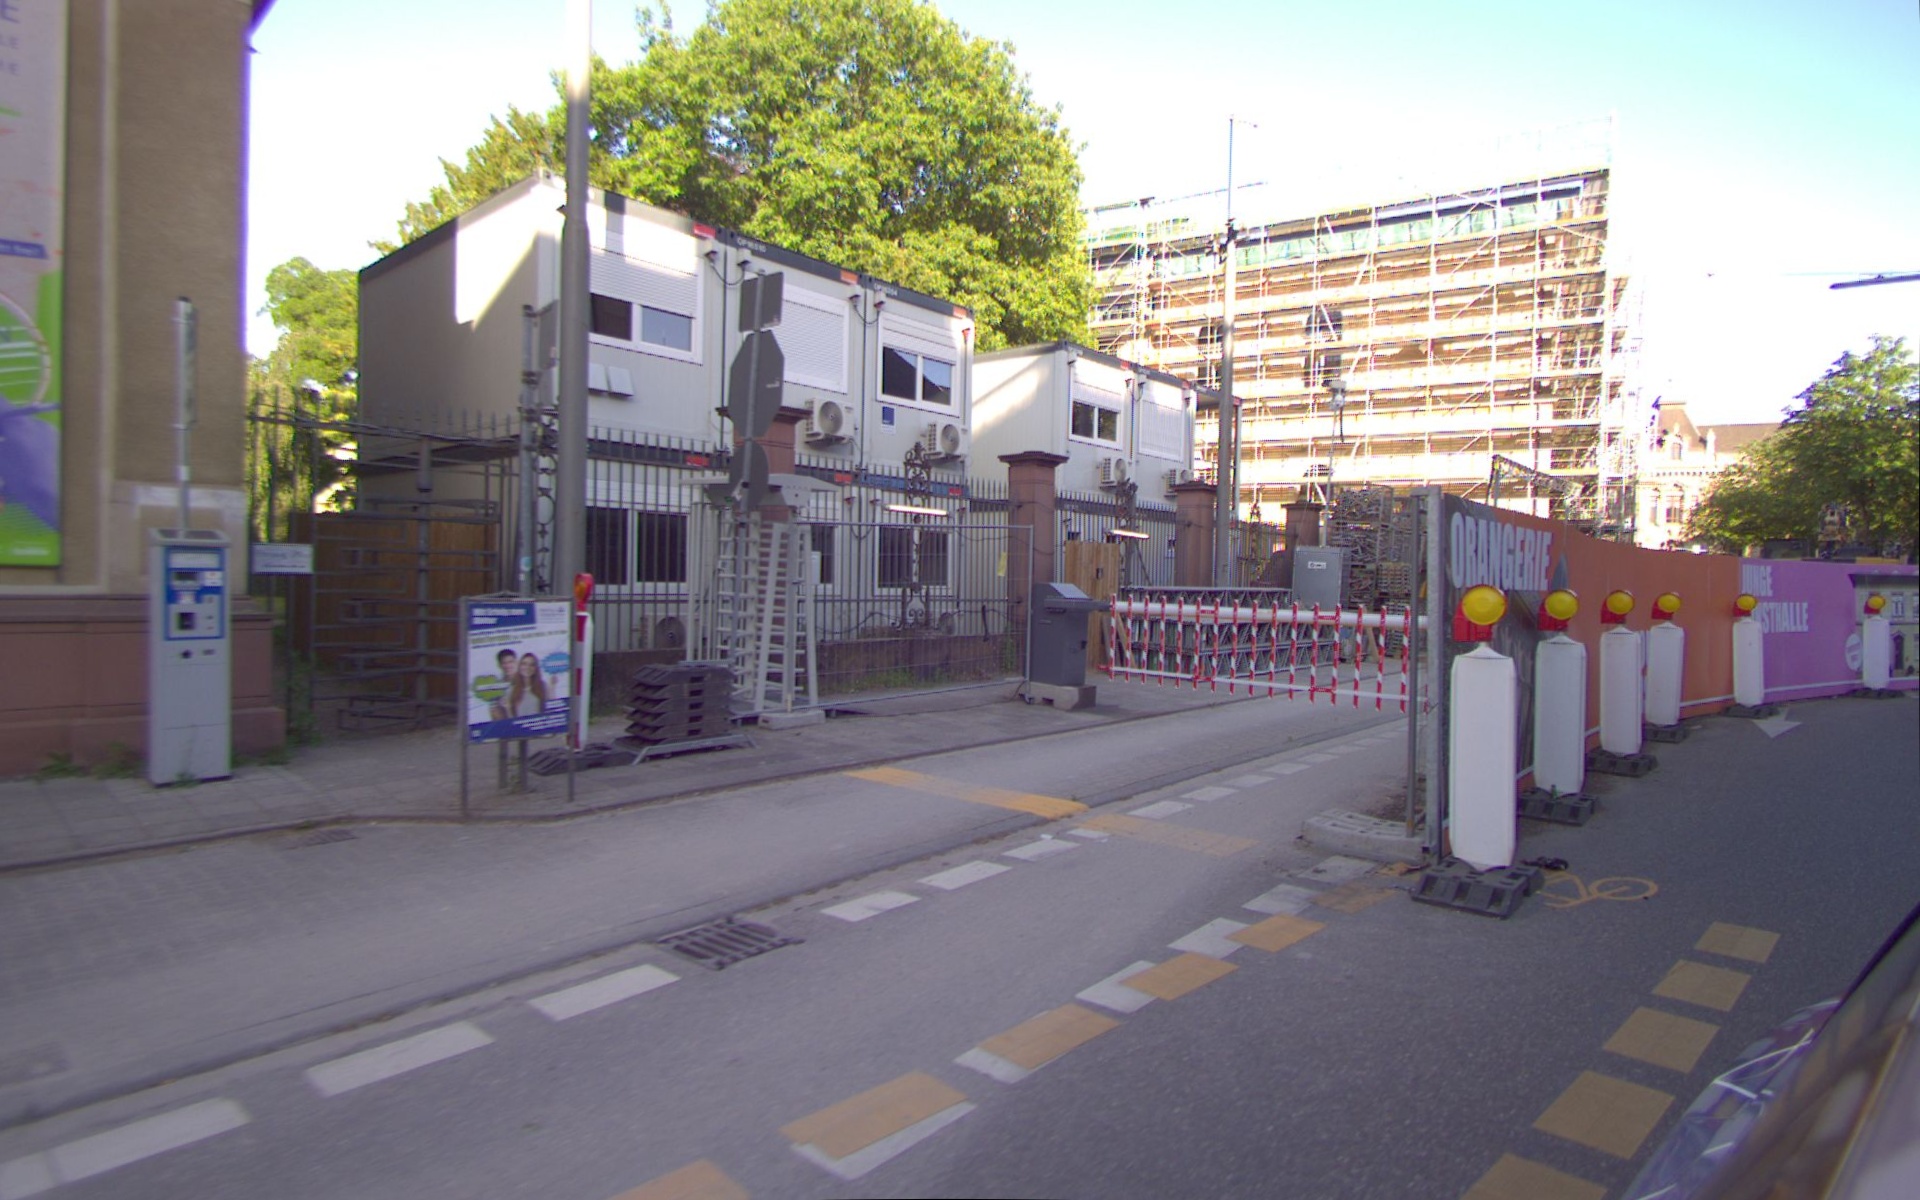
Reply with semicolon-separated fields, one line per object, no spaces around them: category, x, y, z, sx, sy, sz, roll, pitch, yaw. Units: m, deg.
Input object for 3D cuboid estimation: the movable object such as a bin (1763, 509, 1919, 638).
movable object such as a bin;25.096;-0.784;28.842;3.160;3.340;4.321;4;2;41
